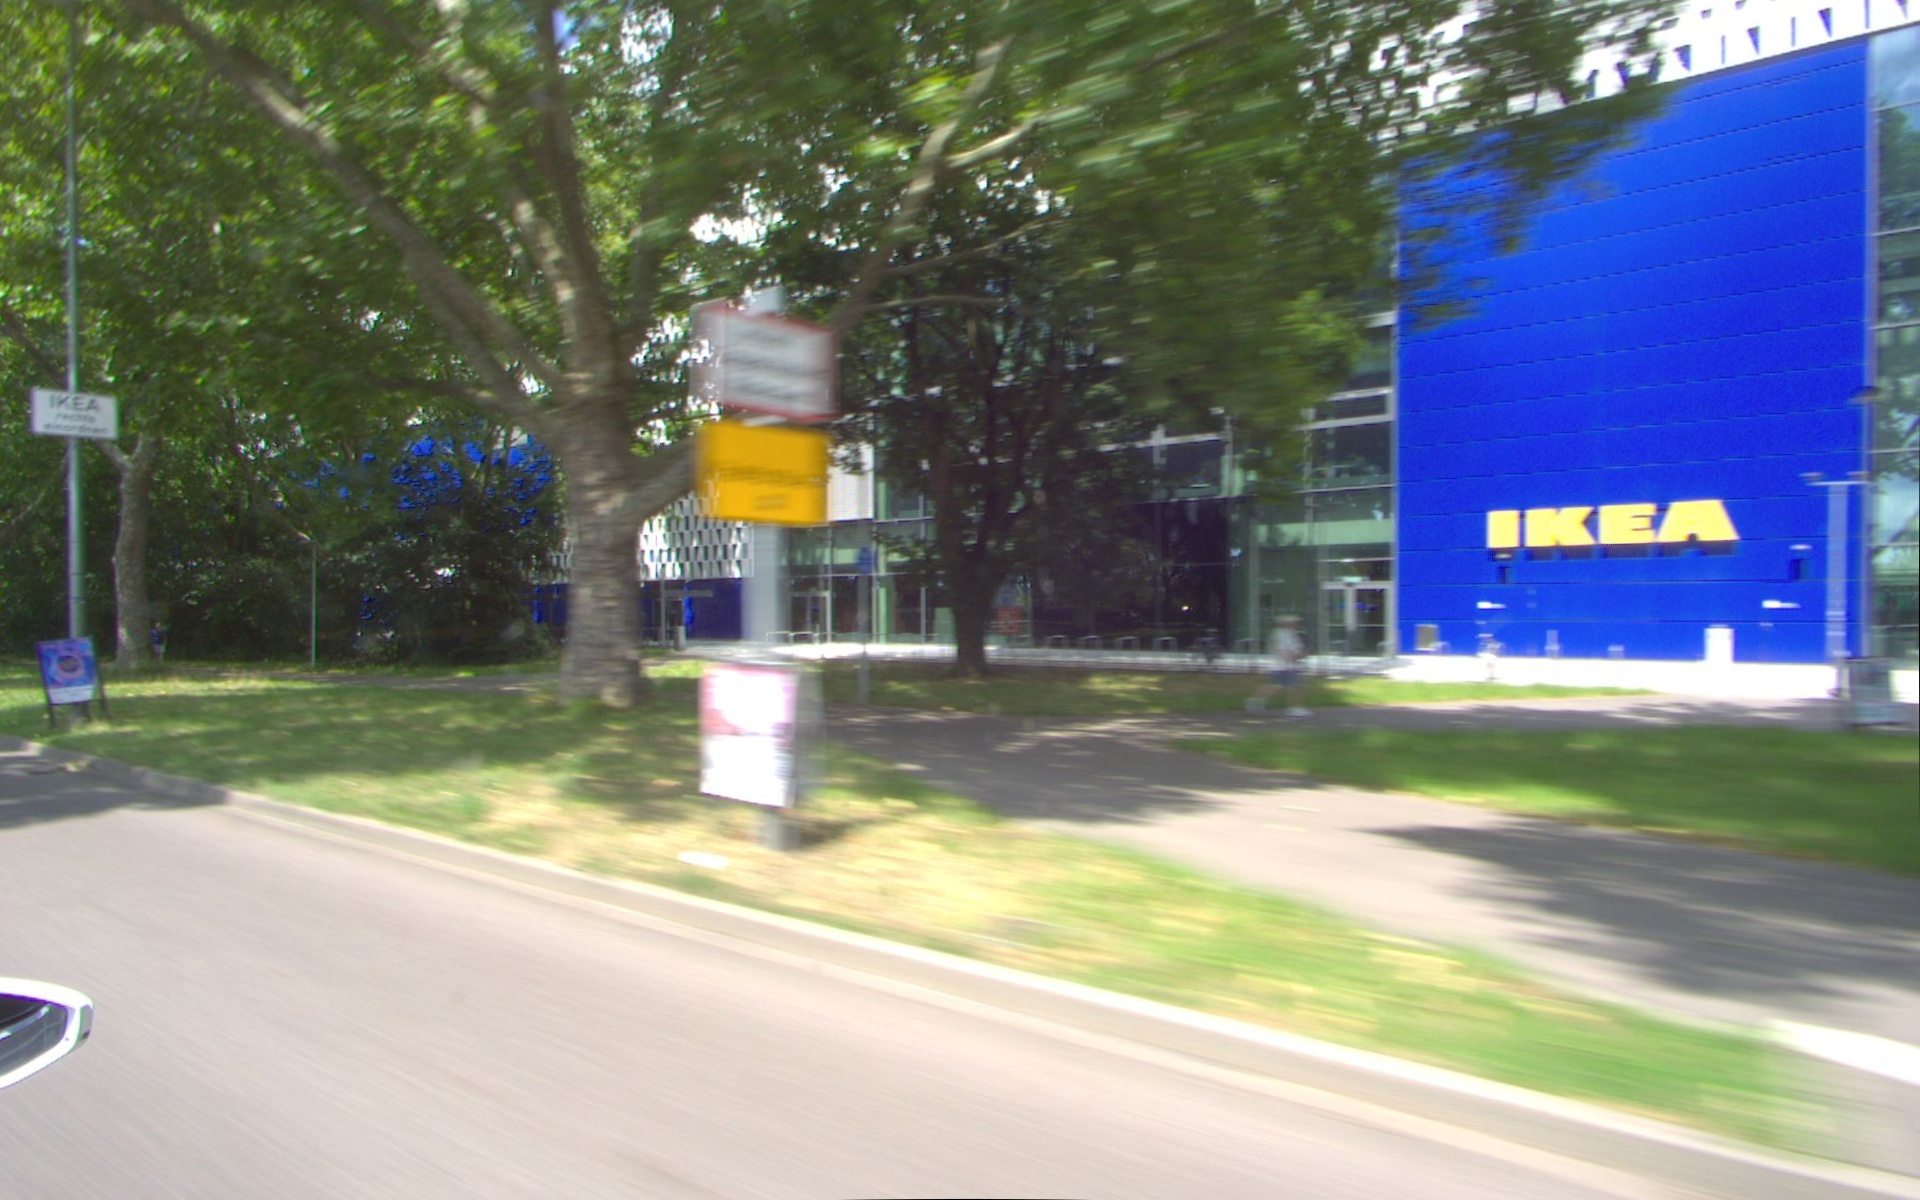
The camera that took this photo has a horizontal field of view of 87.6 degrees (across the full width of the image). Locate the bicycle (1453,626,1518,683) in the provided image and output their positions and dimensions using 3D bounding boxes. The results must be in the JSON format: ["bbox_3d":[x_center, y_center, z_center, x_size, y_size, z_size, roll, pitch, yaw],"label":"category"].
[{"bbox_3d":[12.201,1.227,23.190,0.687,1.191,2.504,0,1,43],"label":"bicycle"}]

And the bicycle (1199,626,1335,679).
[{"bbox_3d":[7.872,1.305,25.587,3.782,1.191,0.982,-1,1,-29],"label":"bicycle"}]

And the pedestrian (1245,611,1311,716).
[{"bbox_3d":[5.393,1.050,16.973,0.880,1.717,0.772,0,-1,36],"label":"pedestrian"}]

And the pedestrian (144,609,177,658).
[{"bbox_3d":[-33.730,1.416,42.253,0.944,2.039,0.834,0,-2,34],"label":"pedestrian"}]

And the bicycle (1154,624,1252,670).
[{"bbox_3d":[6.609,1.263,27.179,2.737,1.136,0.892,-1,0,-30],"label":"bicycle"}]
